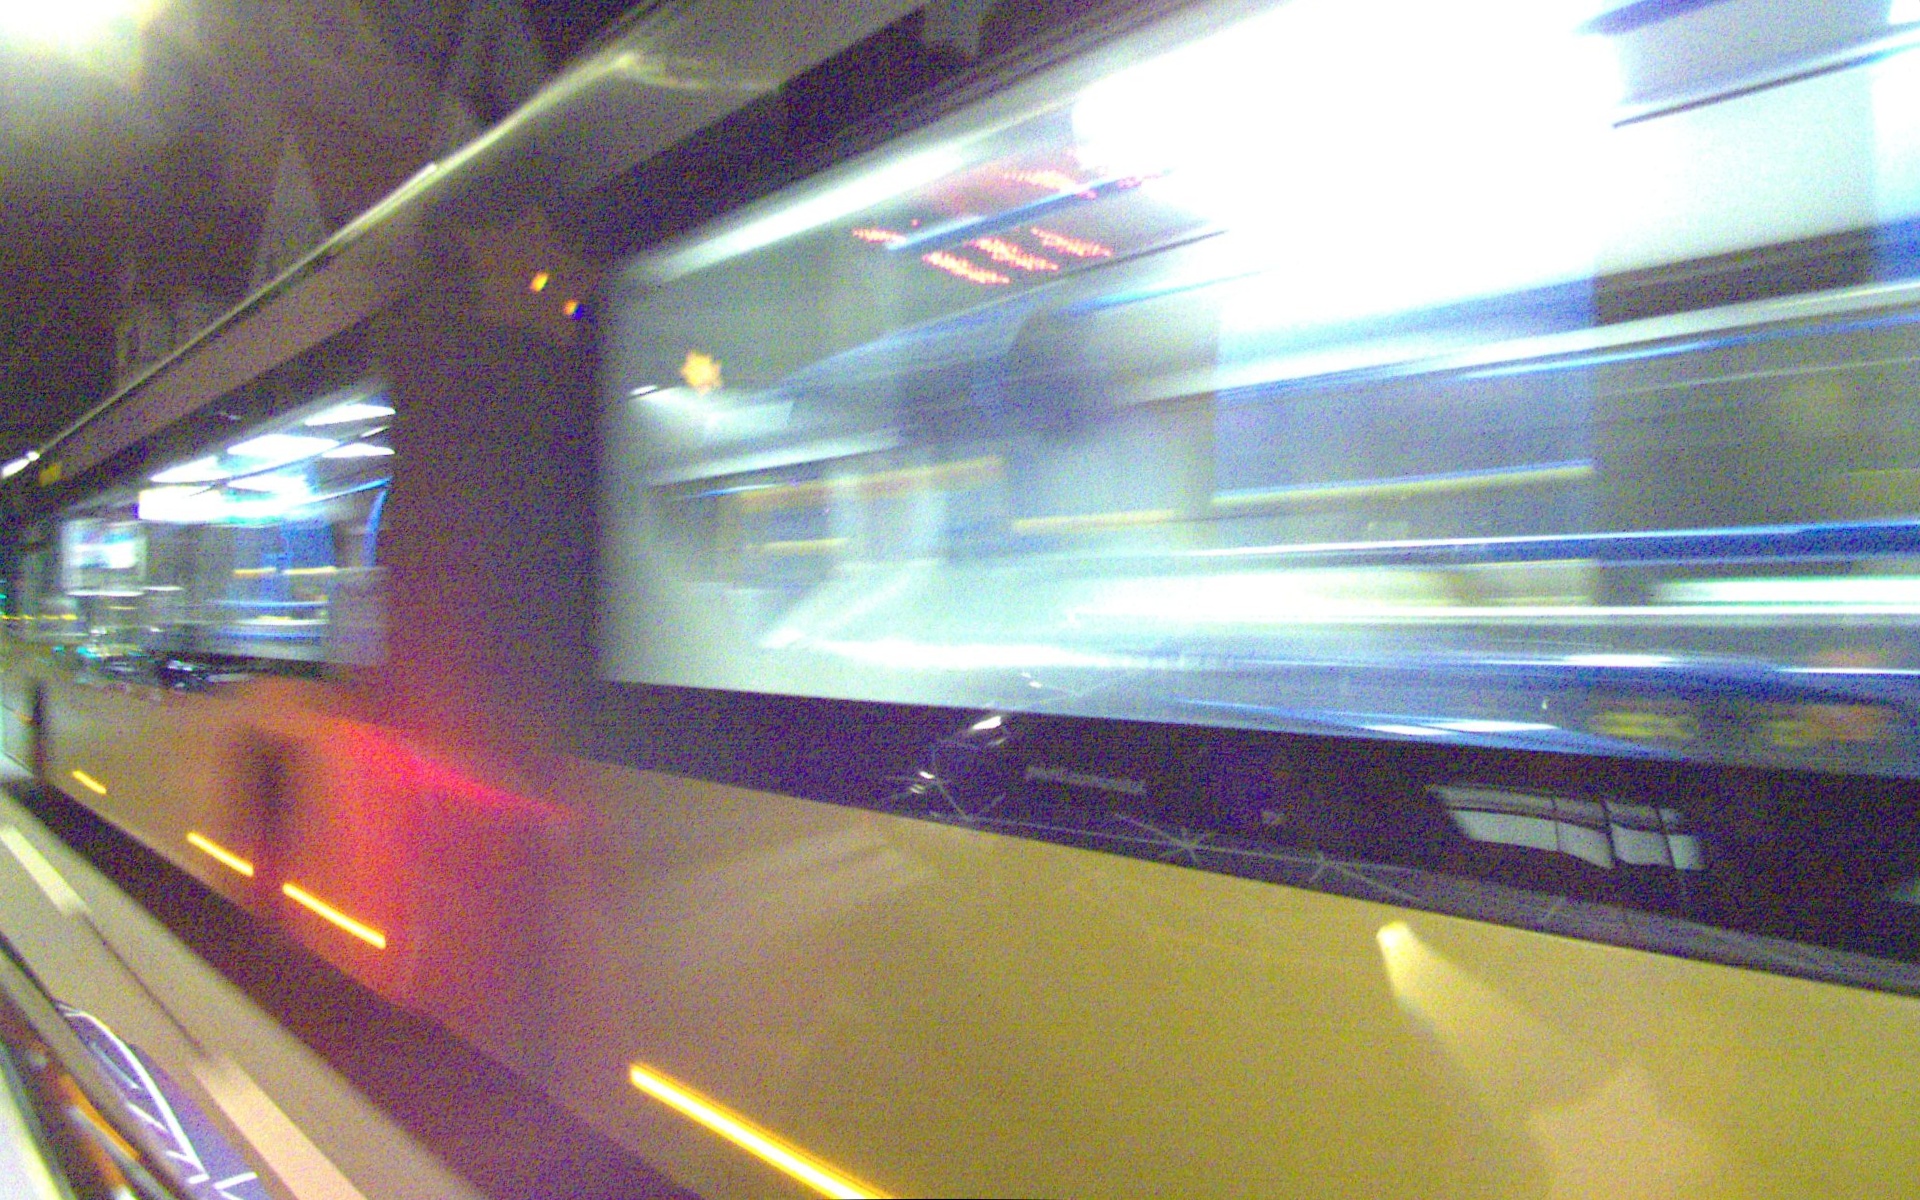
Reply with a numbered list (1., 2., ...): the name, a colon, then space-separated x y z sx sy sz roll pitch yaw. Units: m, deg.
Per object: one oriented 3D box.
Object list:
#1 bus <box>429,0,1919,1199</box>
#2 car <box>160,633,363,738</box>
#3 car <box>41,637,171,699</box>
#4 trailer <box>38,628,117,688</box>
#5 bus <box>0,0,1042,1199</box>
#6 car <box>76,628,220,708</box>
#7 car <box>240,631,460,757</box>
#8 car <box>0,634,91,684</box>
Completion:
1. bus: 2.526 -0.107 0.921 7.657 3.202 2.808 -2 -1 42
2. car: -12.177 1.369 17.544 4.277 1.503 1.845 0 -1 40
3. car: -22.437 1.718 26.533 4.540 1.458 1.816 -2 -2 40
4. trailer: -26.835 1.710 30.742 1.619 1.652 3.441 0 -1 -44
5. bus: -4.499 0.117 7.105 10.492 3.202 2.808 -2 -1 41
6. car: -18.536 1.460 23.027 4.542 1.631 1.816 -1 -1 41
7. car: -8.845 1.237 14.562 3.778 1.503 1.605 0 -1 40
8. car: -30.253 1.891 33.300 4.343 1.495 1.796 -1 -1 40
